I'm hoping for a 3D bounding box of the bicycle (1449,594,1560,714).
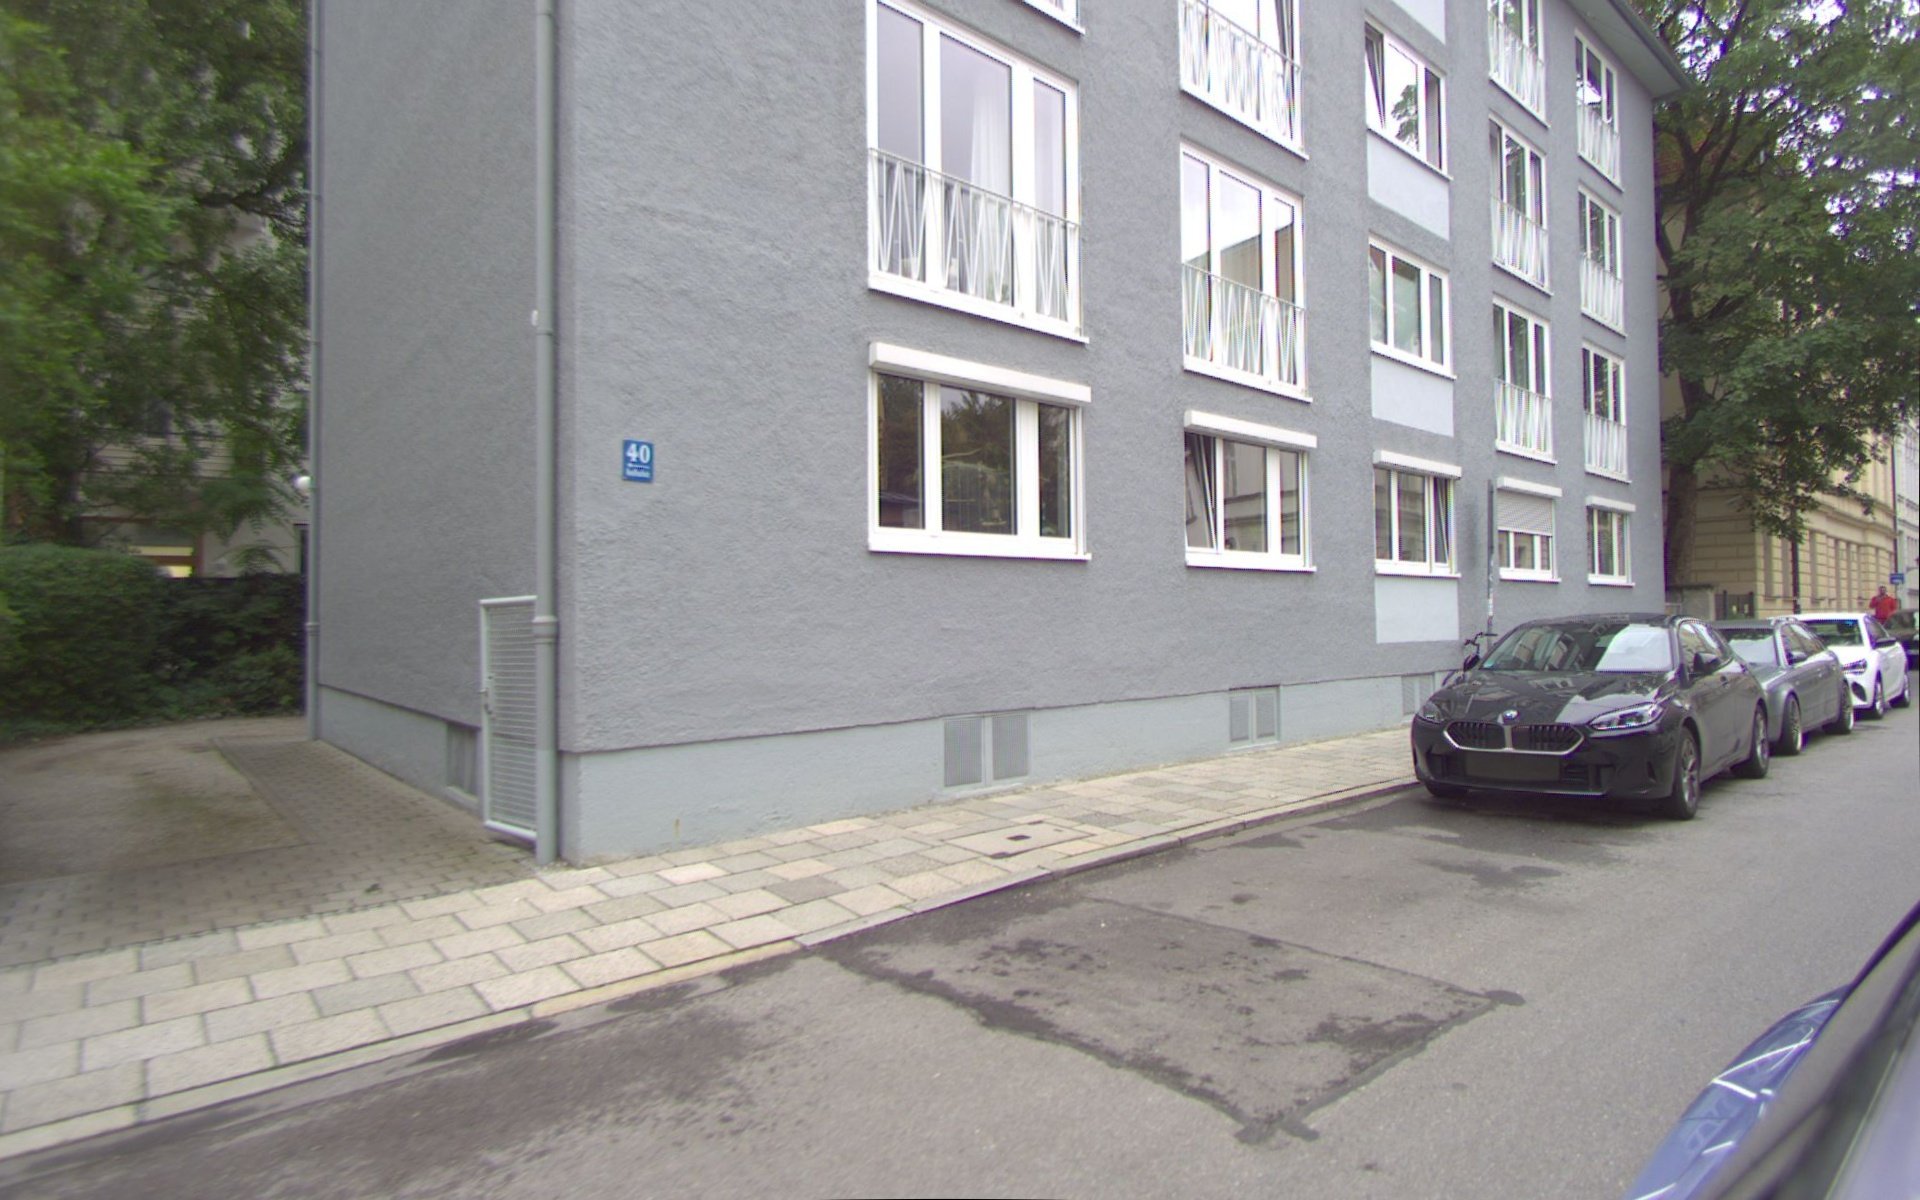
[{"bbox_3d":[7.414,0.685,13.728,2.239,1.505,0.515,0,-2,-40],"label":"bicycle"}]

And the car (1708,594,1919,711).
[{"bbox_3d":[12.757,0.729,14.857,4.267,1.465,1.771,0,-5,-40],"label":"car"}]

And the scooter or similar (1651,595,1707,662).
[{"bbox_3d":[13.404,0.509,18.866,1.351,1.189,0.506,-1,0,-40],"label":"scooter or similar"}]

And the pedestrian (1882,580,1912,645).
[{"bbox_3d":[29.016,0.385,31.337,0.448,2.003,0.580,0,-2,-40],"label":"pedestrian"}]

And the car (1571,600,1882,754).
[{"bbox_3d":[8.939,0.800,11.671,4.405,1.420,1.792,0,-5,-40],"label":"car"}]

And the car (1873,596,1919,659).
[{"bbox_3d":[23.567,0.595,24.349,4.433,1.392,1.856,-1,-3,-42],"label":"car"}]

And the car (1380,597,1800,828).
[{"bbox_3d":[5.423,0.779,8.481,4.191,1.447,1.842,0,-5,-43],"label":"car"}]

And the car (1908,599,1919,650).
[{"bbox_3d":[27.556,0.635,27.570,4.511,1.330,1.997,0,-1,-40],"label":"car"}]
